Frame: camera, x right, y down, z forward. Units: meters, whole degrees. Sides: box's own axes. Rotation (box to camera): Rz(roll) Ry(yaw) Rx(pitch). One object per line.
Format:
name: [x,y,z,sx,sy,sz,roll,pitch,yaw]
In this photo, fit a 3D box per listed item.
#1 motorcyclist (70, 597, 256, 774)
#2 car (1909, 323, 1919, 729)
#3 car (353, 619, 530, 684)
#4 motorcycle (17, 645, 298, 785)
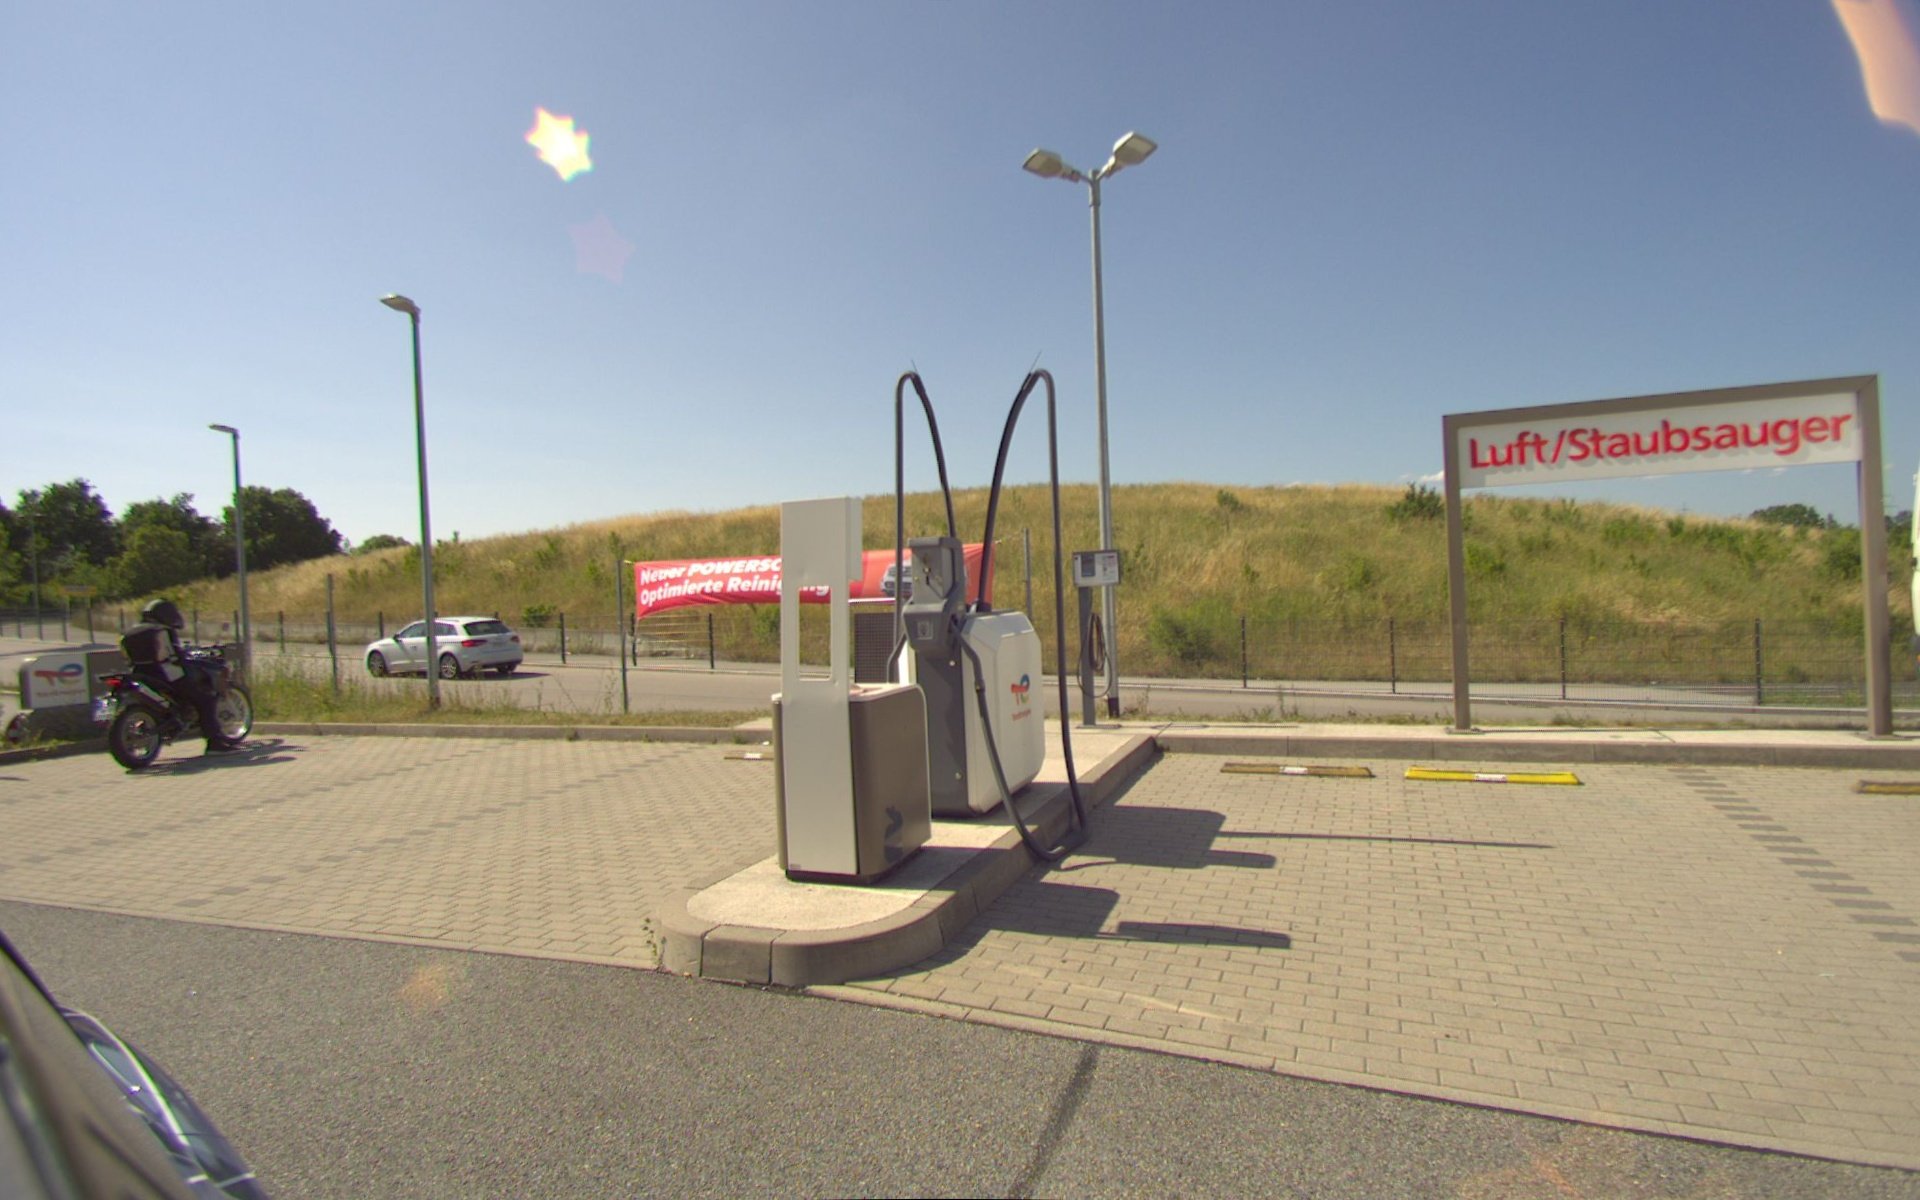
motorcyclist: [-8.199,0.837,10.476,1.020,1.701,1.099,-2,0,-2]
car: [5.383,-0.287,2.998,1.991,2.590,6.964,-2,2,29]
car: [-12.619,1.207,24.623,4.071,1.434,1.693,-1,1,25]
motorcycle: [-8.190,1.116,10.540,1.030,1.114,2.417,-2,1,-2]
